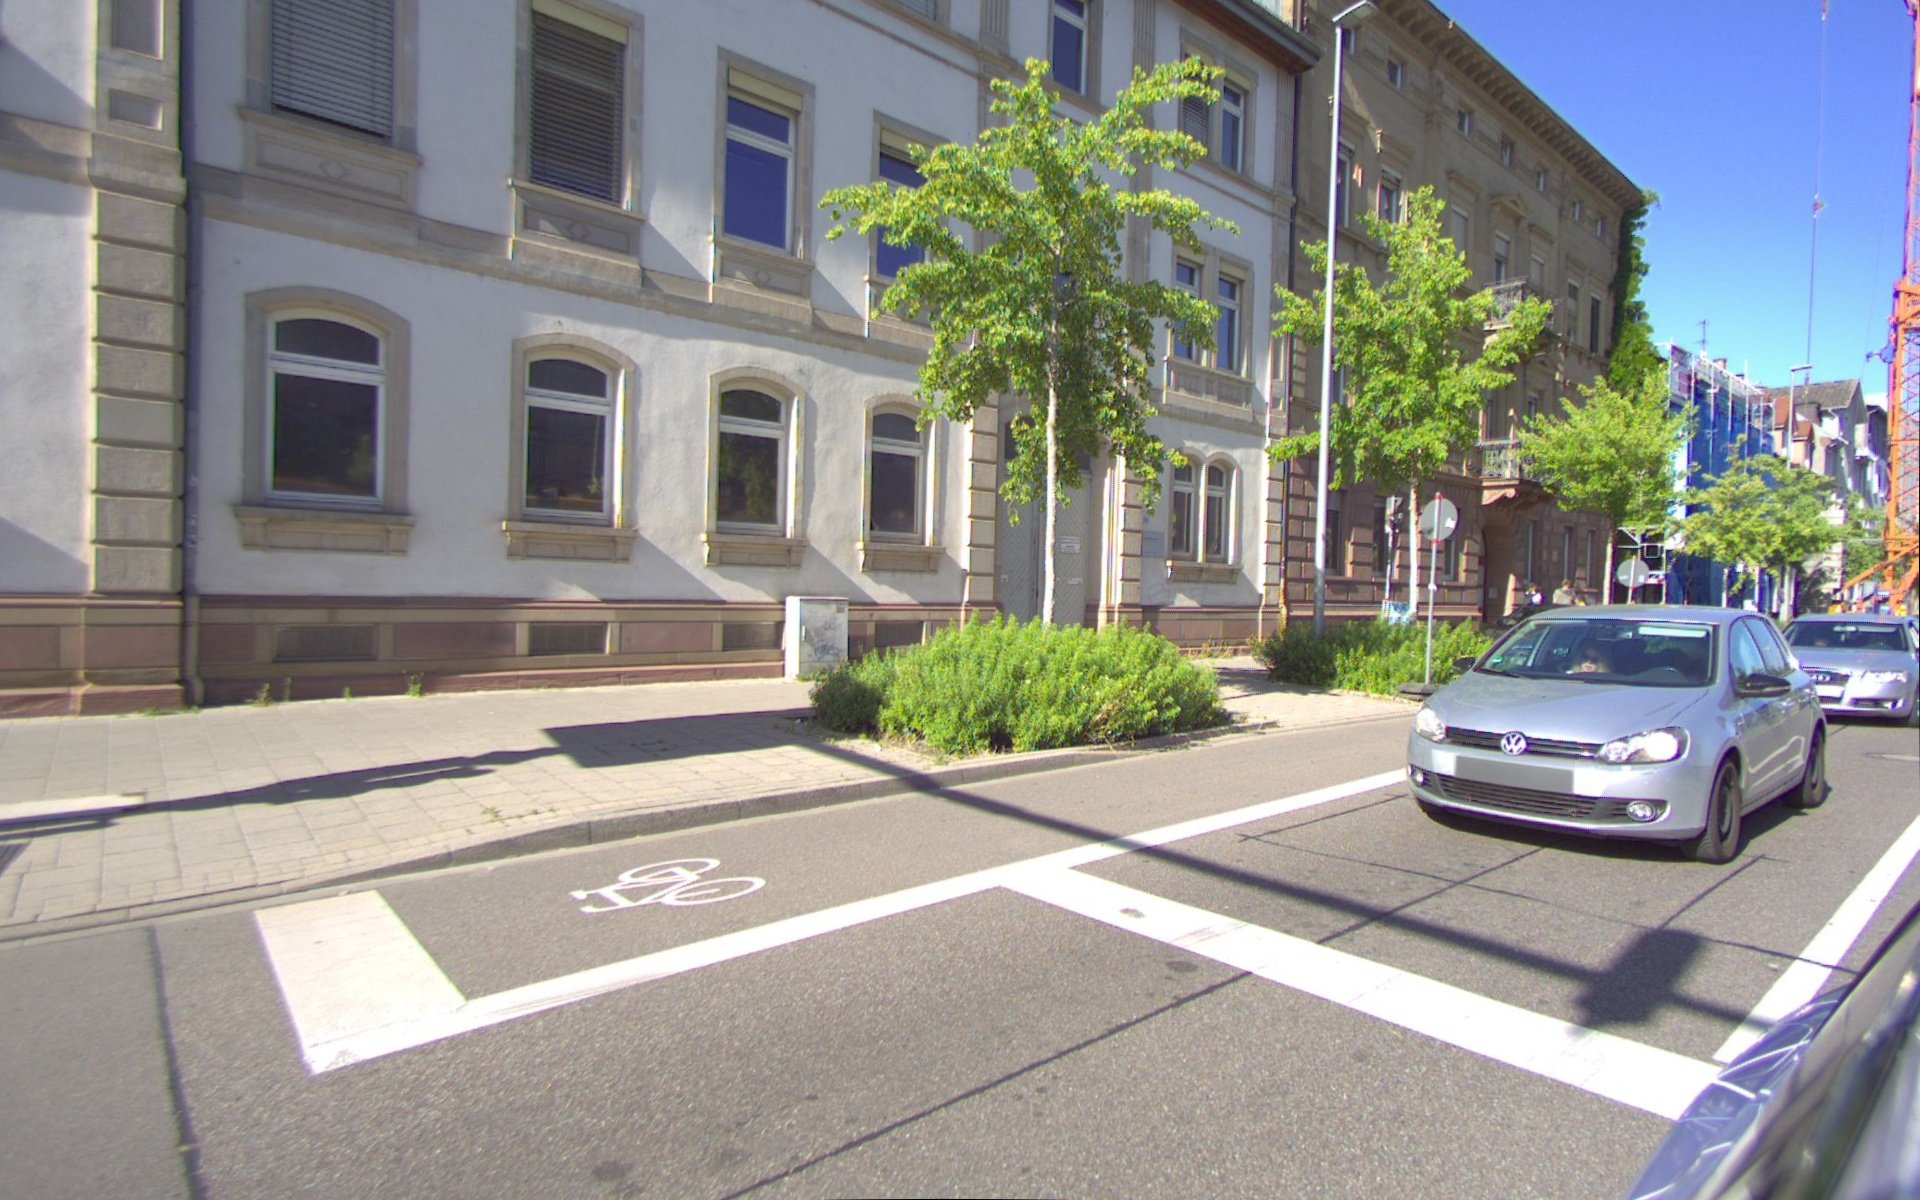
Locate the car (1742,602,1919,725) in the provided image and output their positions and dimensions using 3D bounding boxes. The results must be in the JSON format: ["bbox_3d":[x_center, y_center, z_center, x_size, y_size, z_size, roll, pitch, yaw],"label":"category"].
[{"bbox_3d":[12.422,0.771,13.983,3.930,1.442,1.837,1,0,-41],"label":"car"}]

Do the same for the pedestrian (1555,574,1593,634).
[{"bbox_3d":[16.614,0.101,27.375,0.891,1.581,0.668,1,0,-42],"label":"pedestrian"}]

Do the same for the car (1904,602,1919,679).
[{"bbox_3d":[19.860,0.773,19.755,3.930,1.442,1.701,1,0,-41],"label":"car"}]

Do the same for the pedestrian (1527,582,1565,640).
[{"bbox_3d":[16.169,0.290,27.909,0.891,1.581,0.668,1,0,-42],"label":"pedestrian"}]

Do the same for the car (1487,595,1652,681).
[{"bbox_3d":[11.957,0.681,19.758,3.930,1.461,1.609,1,2,-41],"label":"car"}]

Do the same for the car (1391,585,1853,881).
[{"bbox_3d":[4.762,0.671,7.057,3.930,1.493,1.701,1,0,-41],"label":"car"}]
